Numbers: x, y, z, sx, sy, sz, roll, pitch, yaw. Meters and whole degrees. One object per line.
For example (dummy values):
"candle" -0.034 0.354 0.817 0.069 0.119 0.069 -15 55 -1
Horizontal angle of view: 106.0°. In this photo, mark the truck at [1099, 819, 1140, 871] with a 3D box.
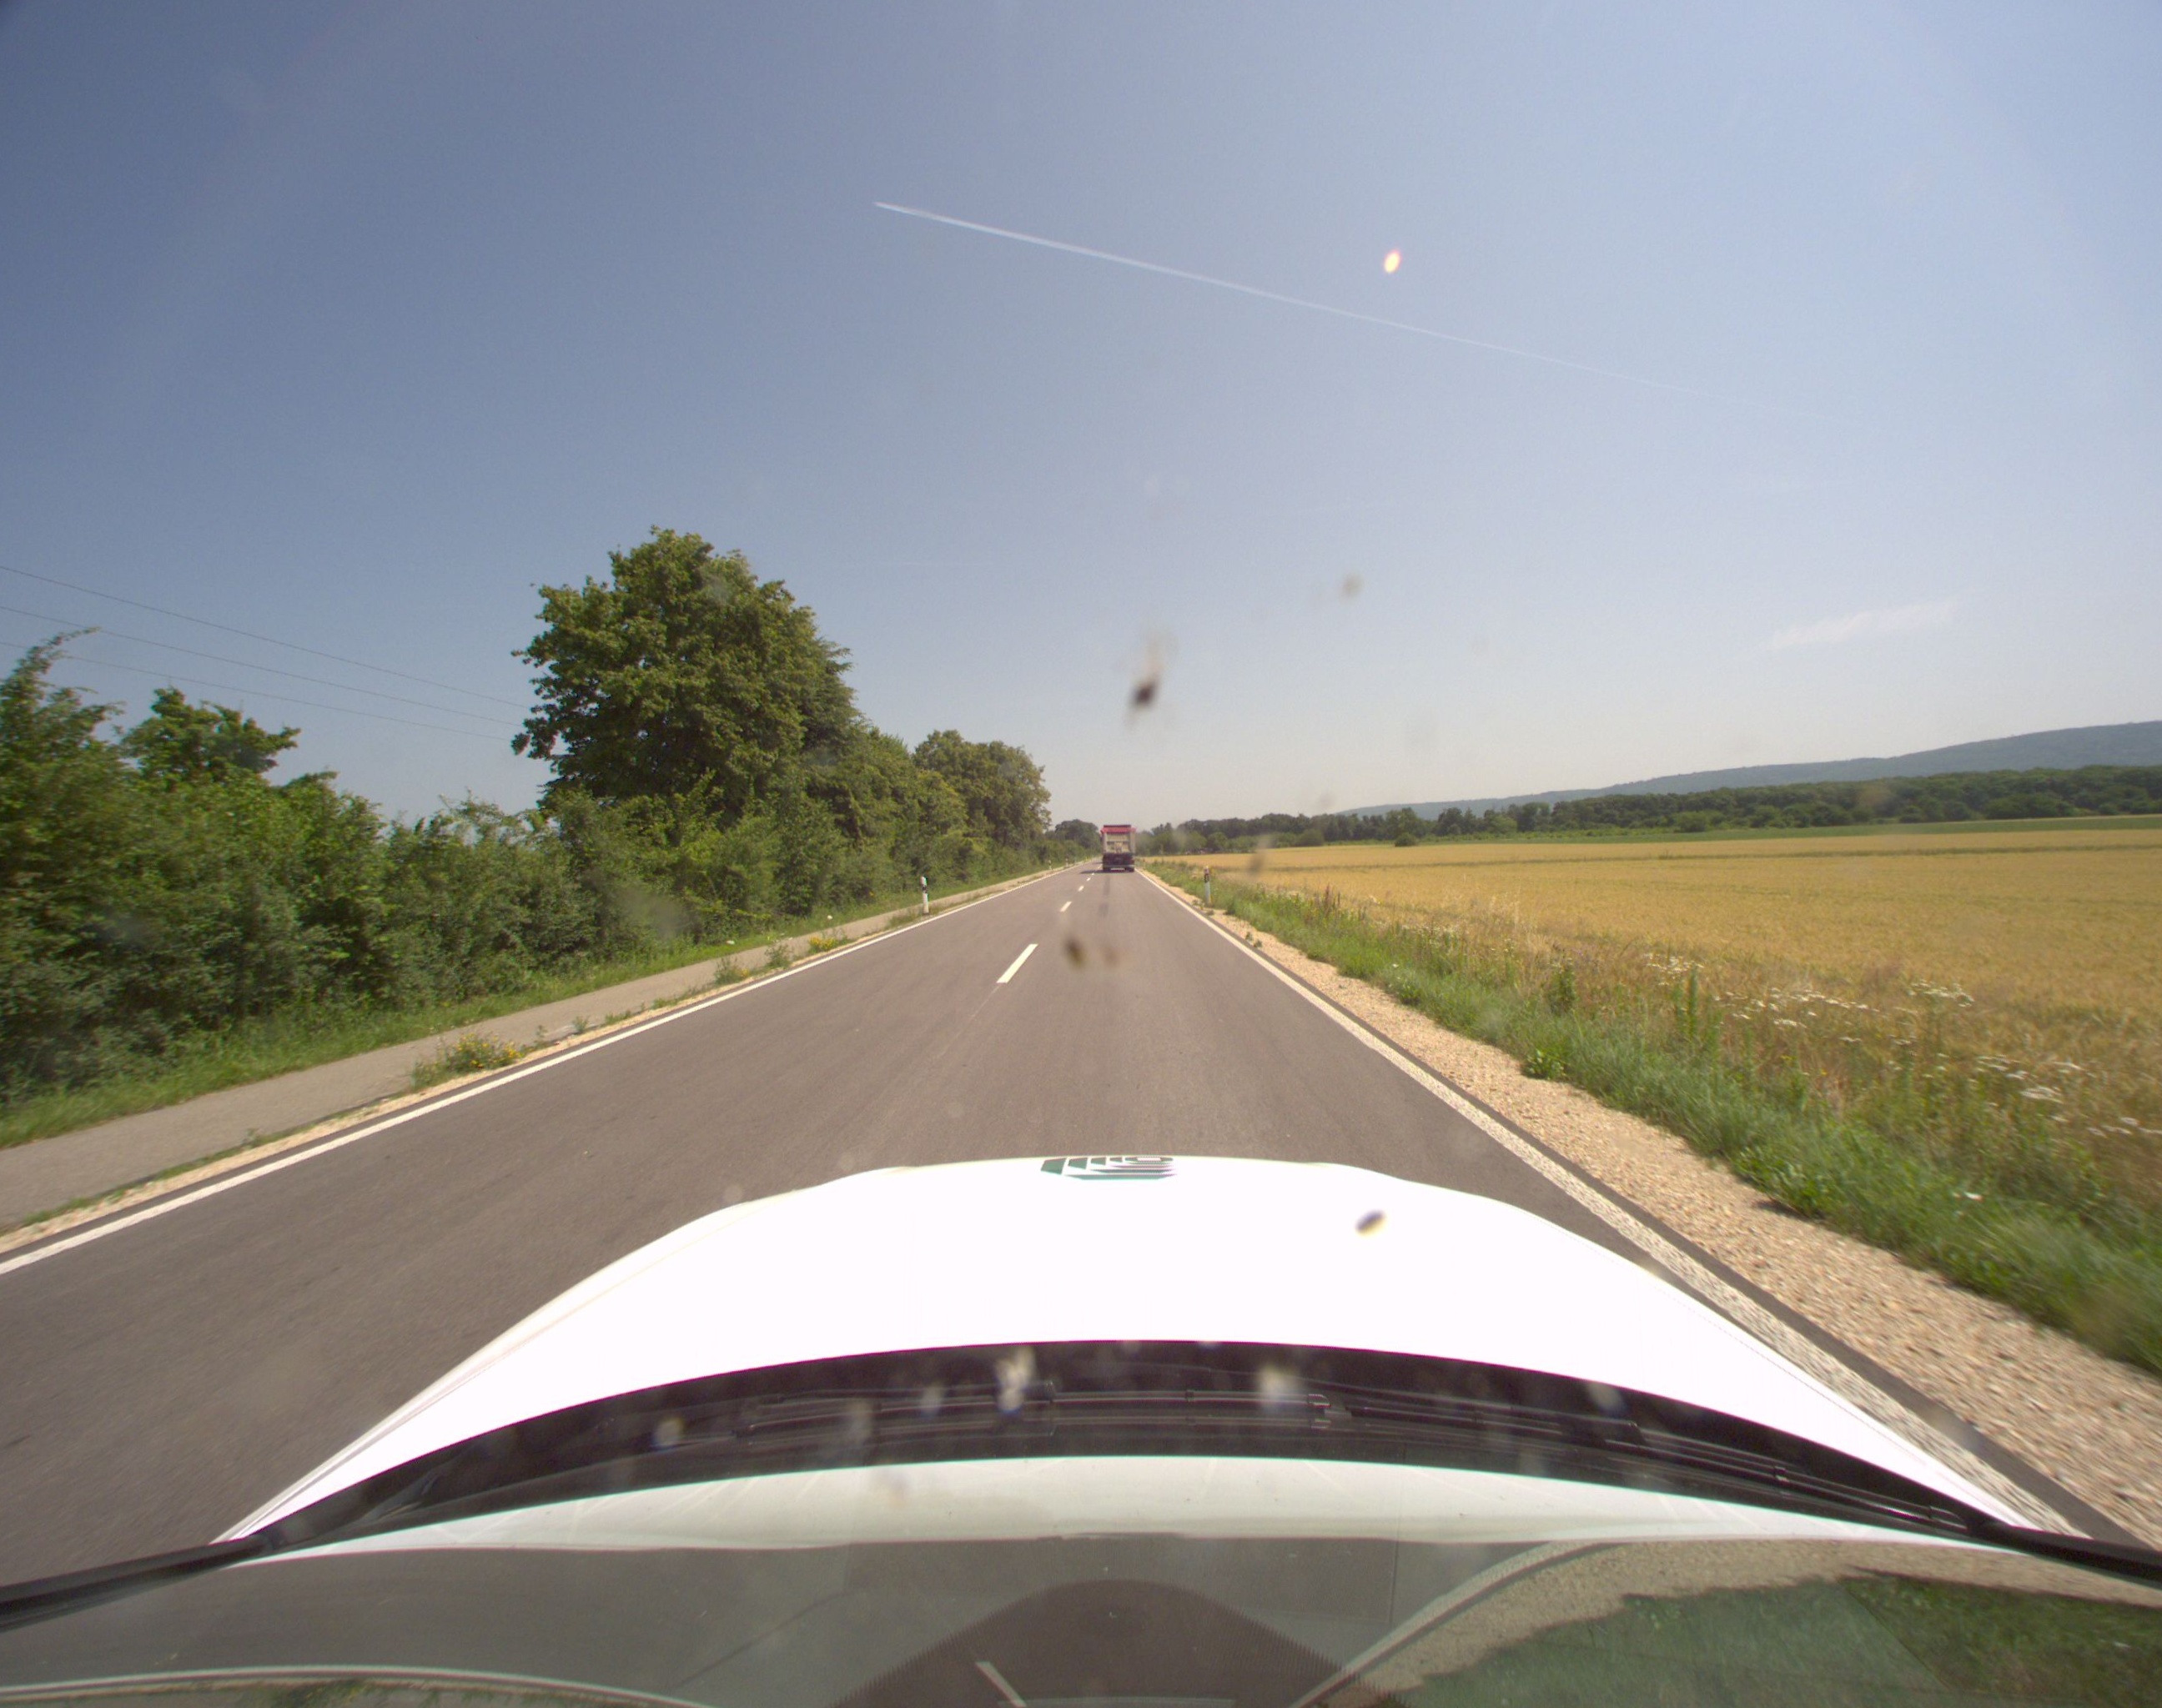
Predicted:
"truck" 3.128 -0.663 67.104 2.998 3.874 12.215 0 0 2
